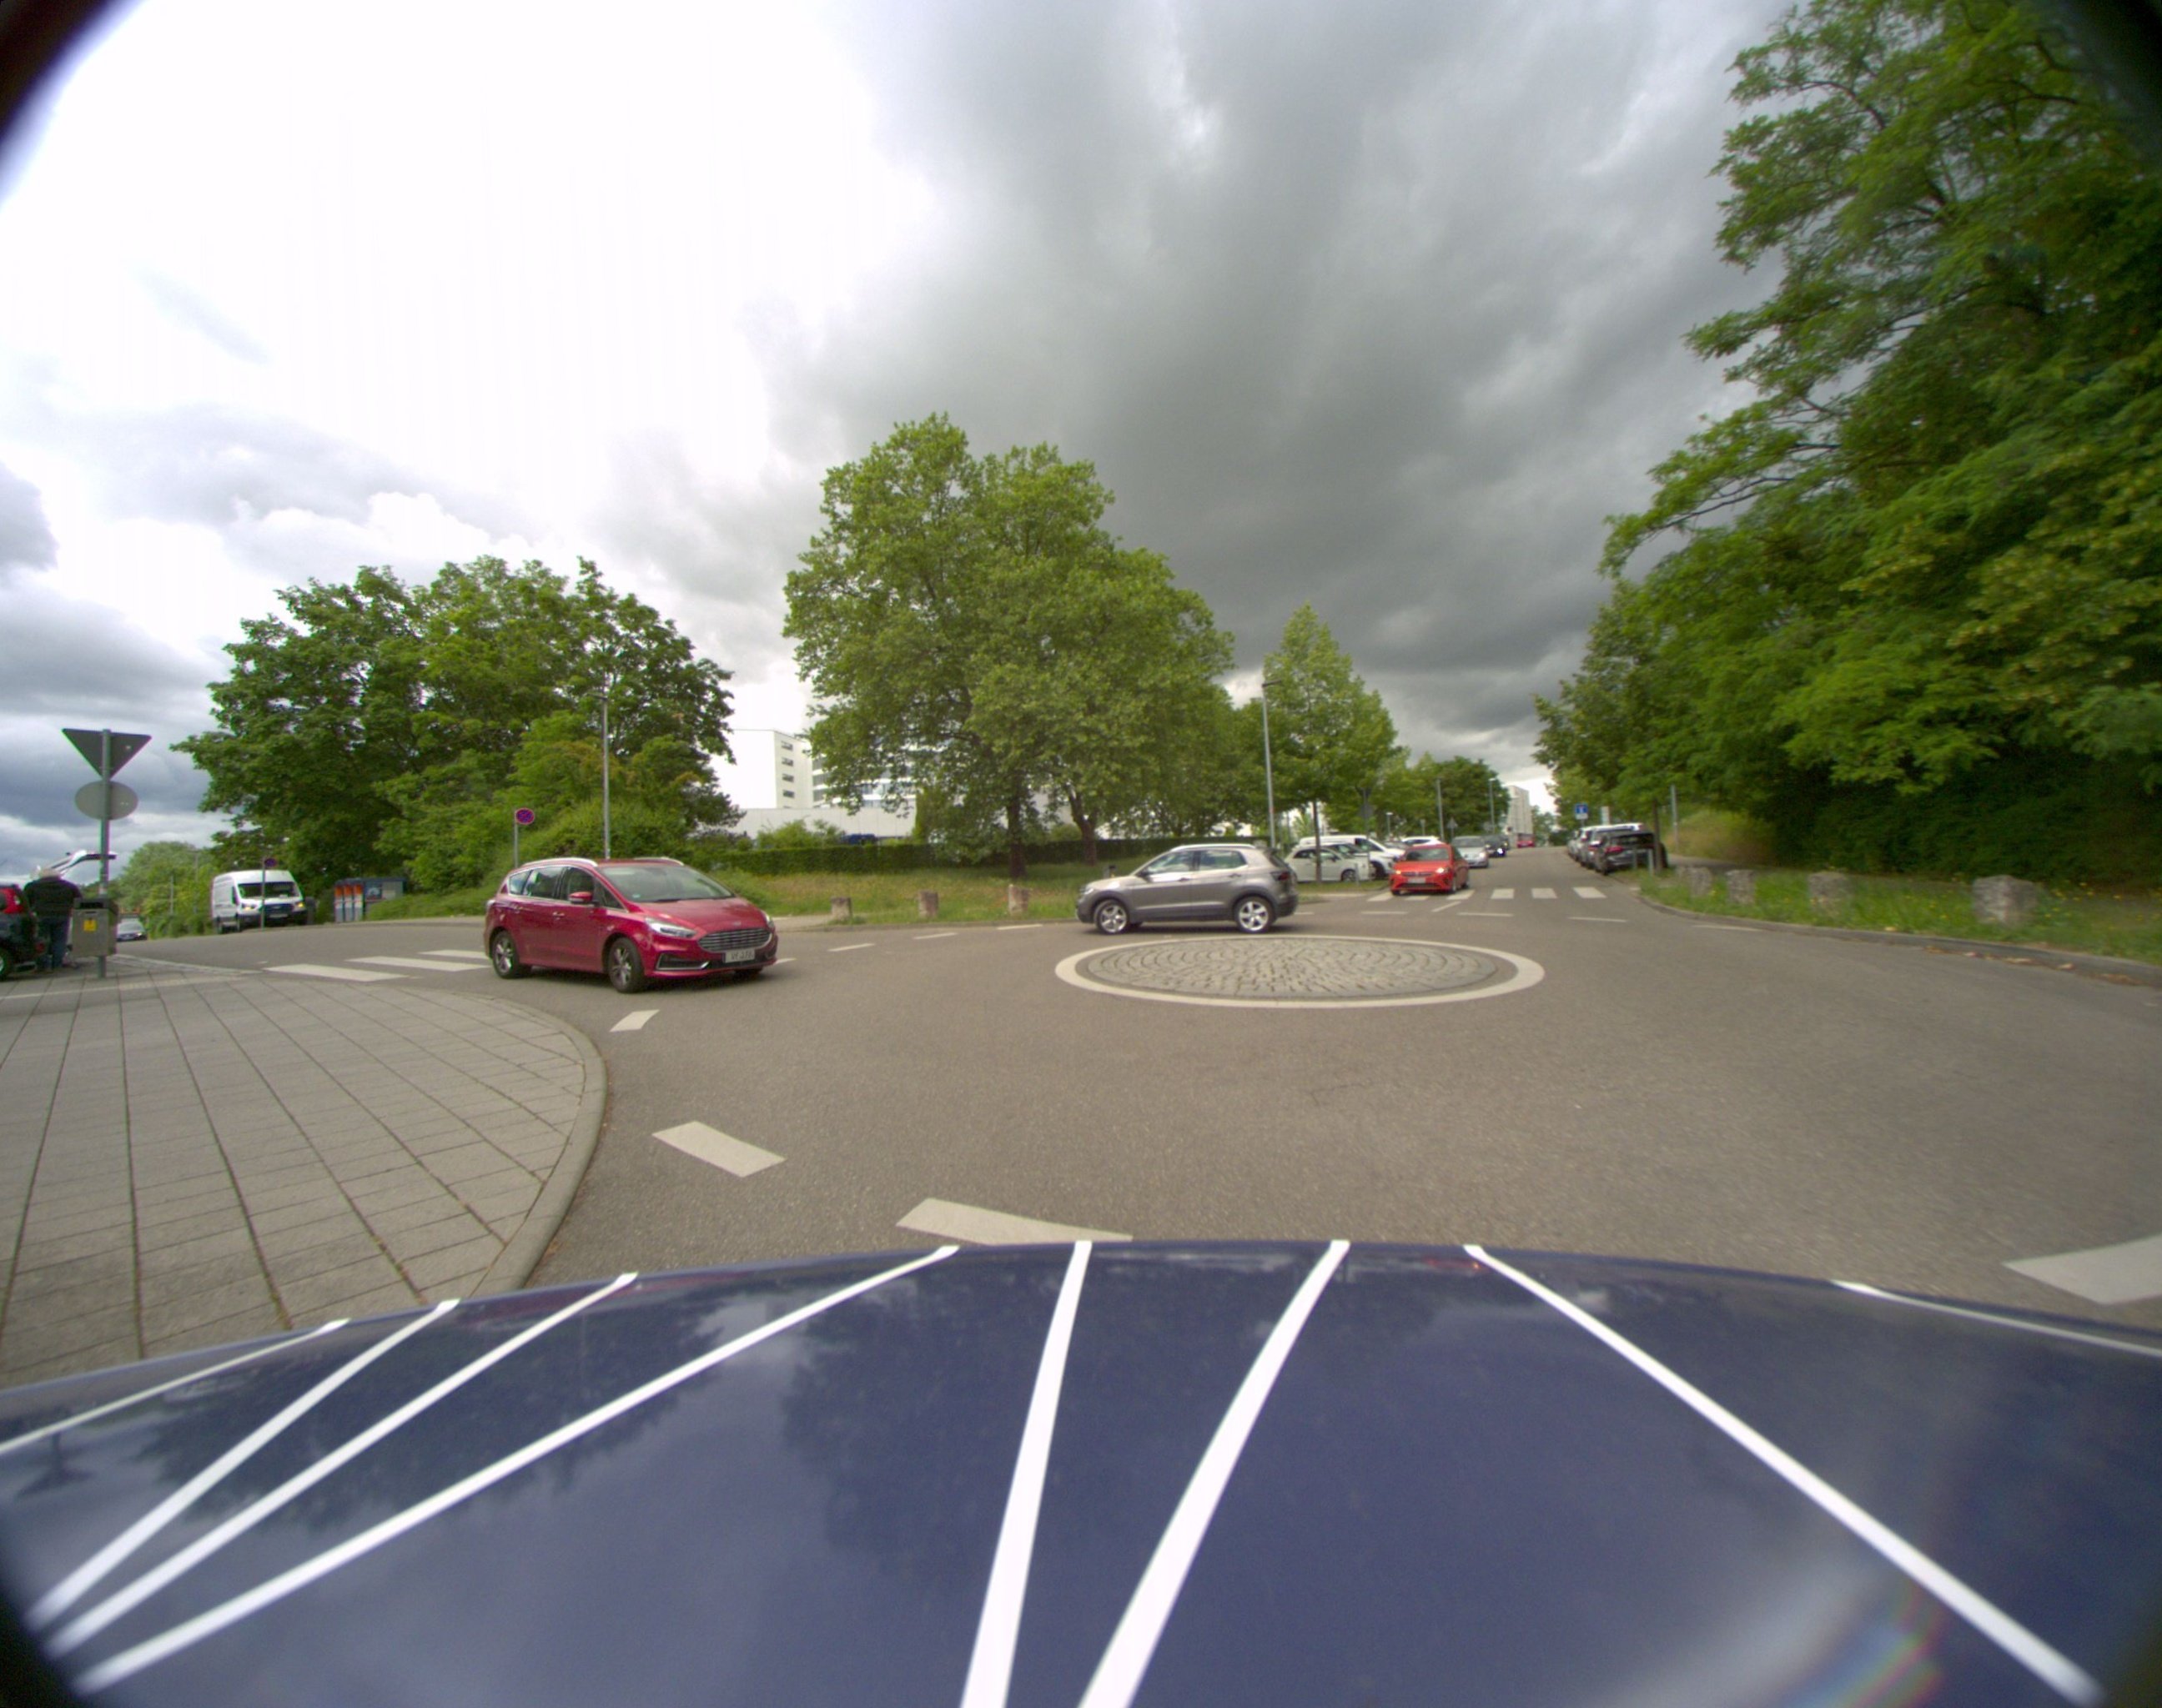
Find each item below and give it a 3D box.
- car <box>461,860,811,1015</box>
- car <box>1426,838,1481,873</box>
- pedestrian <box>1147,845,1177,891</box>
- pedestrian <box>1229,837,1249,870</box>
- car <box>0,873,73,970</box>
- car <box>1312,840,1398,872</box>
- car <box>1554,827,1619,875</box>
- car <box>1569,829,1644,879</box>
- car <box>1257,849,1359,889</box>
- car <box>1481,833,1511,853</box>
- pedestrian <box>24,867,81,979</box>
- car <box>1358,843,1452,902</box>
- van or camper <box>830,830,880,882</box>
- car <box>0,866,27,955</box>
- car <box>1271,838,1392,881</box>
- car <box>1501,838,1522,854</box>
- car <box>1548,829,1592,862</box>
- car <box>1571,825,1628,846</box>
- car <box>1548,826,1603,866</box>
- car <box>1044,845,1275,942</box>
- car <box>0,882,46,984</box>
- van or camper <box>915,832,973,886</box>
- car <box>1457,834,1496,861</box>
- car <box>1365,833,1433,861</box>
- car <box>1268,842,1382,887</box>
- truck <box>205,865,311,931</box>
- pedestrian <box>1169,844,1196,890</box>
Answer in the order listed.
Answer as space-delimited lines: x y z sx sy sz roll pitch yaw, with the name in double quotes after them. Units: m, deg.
-6.107 0.968 10.366 4.524 1.635 1.983 -1 2 28 "car"
18.441 0.056 37.501 1.755 1.506 4.007 -4 0 35 "car"
3.013 0.521 28.243 0.870 1.647 0.594 -4 0 29 "pedestrian"
7.554 -0.023 36.314 0.677 1.510 0.707 -4 0 28 "pedestrian"
-19.961 1.229 12.635 1.569 1.649 3.784 -1 1 37 "car"
14.041 0.103 38.951 3.827 1.511 1.915 -1 1 29 "car"
20.632 -0.171 31.185 1.801 1.606 4.485 -7 -1 30 "car"
18.260 -0.055 26.566 1.691 1.456 4.464 -7 -2 30 "car"
8.914 0.569 29.823 3.513 1.453 1.742 -1 1 30 "car"
36.362 -0.997 66.579 1.755 1.607 4.007 -4 0 35 "car"
-17.205 1.149 12.723 0.581 1.801 0.485 -4 0 38 "pedestrian"
9.955 0.521 23.151 1.755 1.506 4.007 -4 0 35 "car"
-13.068 0.175 43.767 2.117 2.781 4.473 -4 0 -23 "van or camper"
-28.075 1.490 17.702 1.825 2.148 3.985 -4 0 37 "car"
11.211 0.261 34.130 4.776 1.821 1.846 -1 1 34 "car"
51.058 -0.955 90.073 1.755 1.607 4.007 -4 0 35 "car"
26.511 -0.484 41.290 1.691 1.502 4.238 -7 -2 30 "car"
46.637 -1.672 68.437 1.673 1.630 3.996 -4 -1 -15 "car"
23.744 -0.400 36.598 1.809 1.654 4.444 -7 -2 30 "car"
1.507 0.730 14.382 4.001 1.609 1.724 -2 1 20 "car"
-17.327 1.257 10.489 1.501 1.467 3.533 -4 -1 37 "car"
-7.698 0.322 42.360 2.117 2.781 4.473 -4 0 -23 "van or camper"
26.606 -0.481 51.055 1.755 1.607 4.007 -4 0 35 "car"
20.108 -0.451 48.027 3.672 1.637 1.855 -2 1 32 "car"
10.177 0.438 31.743 4.154 1.593 1.742 -4 0 29 "car"
-36.058 1.946 33.242 5.794 2.591 2.071 -4 0 33 "truck"
3.716 0.466 27.860 0.689 1.647 0.601 -4 0 29 "pedestrian"
